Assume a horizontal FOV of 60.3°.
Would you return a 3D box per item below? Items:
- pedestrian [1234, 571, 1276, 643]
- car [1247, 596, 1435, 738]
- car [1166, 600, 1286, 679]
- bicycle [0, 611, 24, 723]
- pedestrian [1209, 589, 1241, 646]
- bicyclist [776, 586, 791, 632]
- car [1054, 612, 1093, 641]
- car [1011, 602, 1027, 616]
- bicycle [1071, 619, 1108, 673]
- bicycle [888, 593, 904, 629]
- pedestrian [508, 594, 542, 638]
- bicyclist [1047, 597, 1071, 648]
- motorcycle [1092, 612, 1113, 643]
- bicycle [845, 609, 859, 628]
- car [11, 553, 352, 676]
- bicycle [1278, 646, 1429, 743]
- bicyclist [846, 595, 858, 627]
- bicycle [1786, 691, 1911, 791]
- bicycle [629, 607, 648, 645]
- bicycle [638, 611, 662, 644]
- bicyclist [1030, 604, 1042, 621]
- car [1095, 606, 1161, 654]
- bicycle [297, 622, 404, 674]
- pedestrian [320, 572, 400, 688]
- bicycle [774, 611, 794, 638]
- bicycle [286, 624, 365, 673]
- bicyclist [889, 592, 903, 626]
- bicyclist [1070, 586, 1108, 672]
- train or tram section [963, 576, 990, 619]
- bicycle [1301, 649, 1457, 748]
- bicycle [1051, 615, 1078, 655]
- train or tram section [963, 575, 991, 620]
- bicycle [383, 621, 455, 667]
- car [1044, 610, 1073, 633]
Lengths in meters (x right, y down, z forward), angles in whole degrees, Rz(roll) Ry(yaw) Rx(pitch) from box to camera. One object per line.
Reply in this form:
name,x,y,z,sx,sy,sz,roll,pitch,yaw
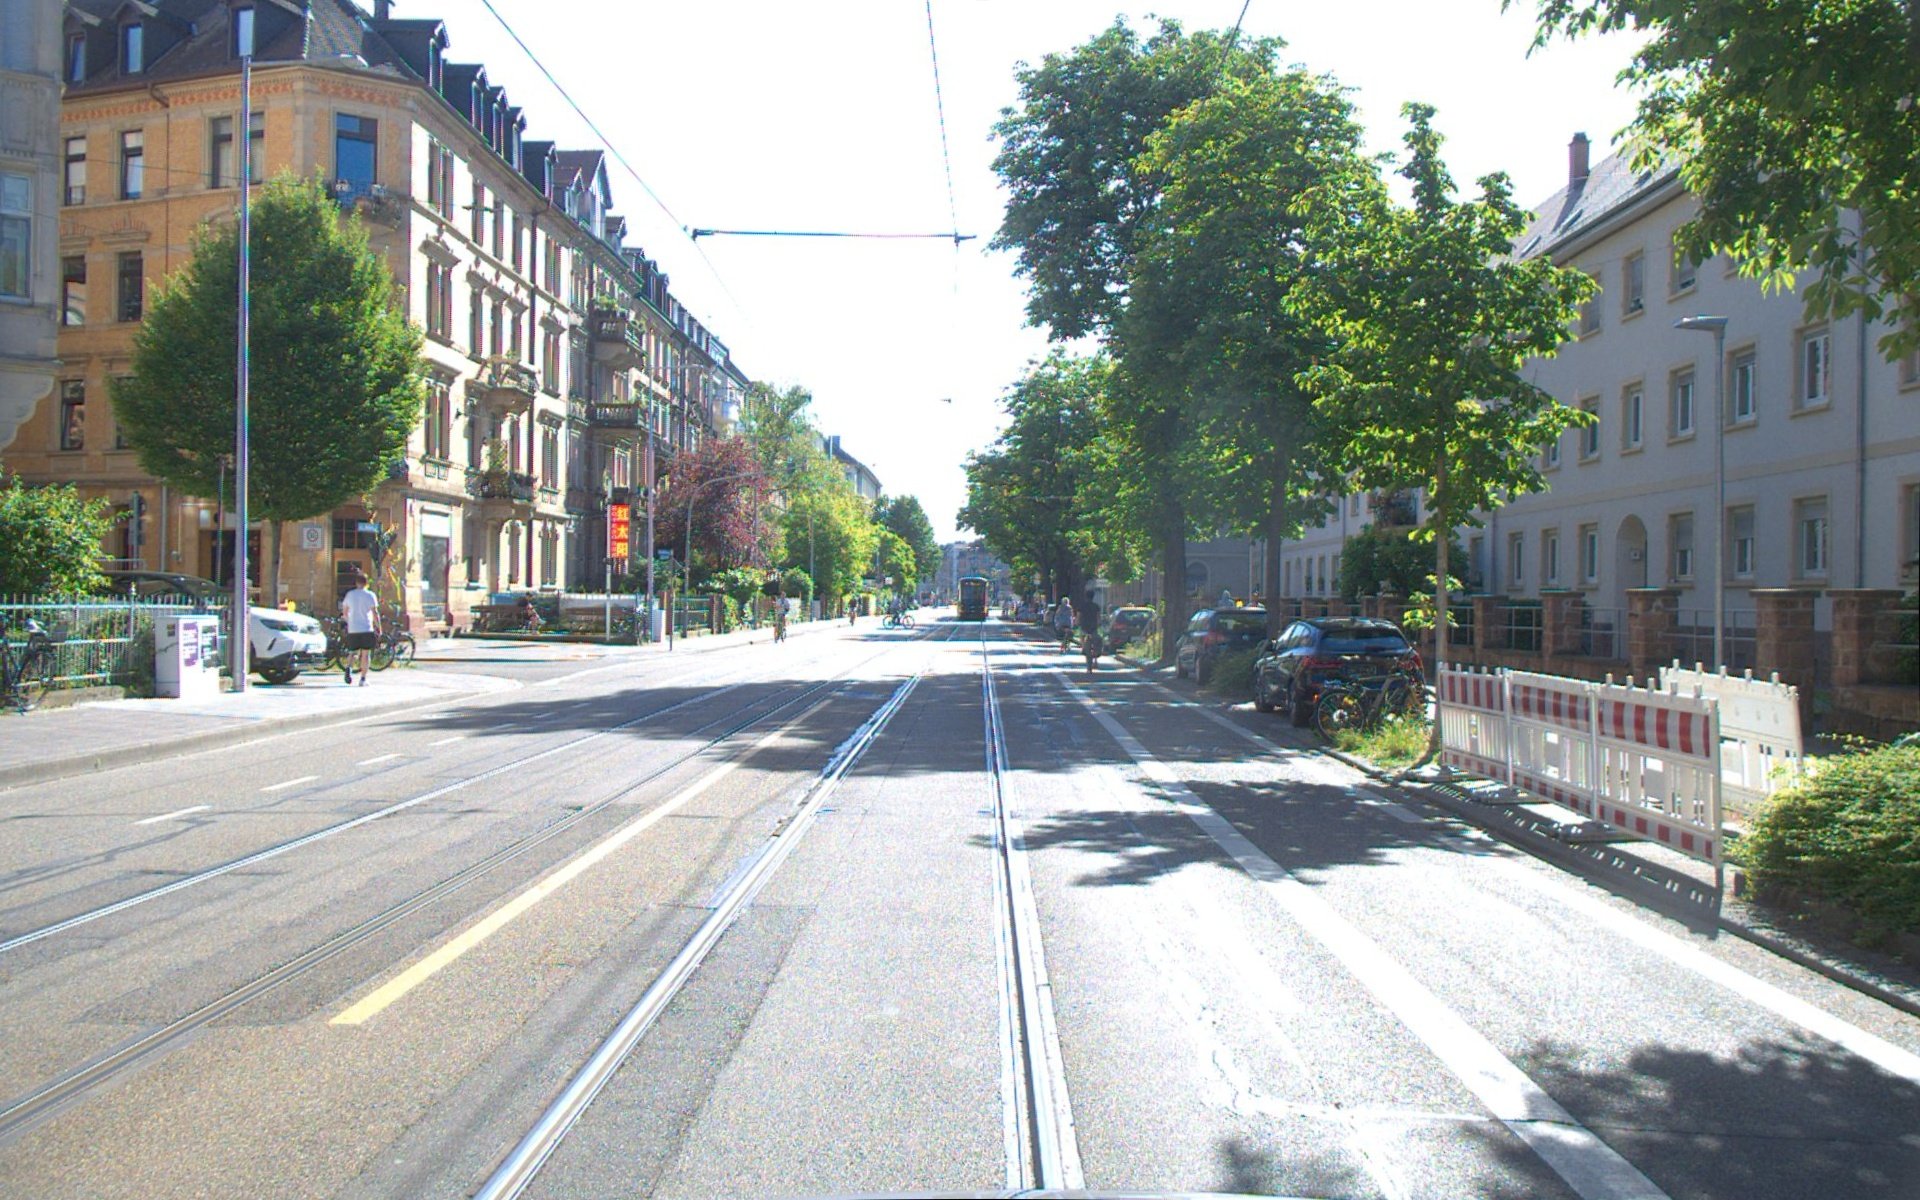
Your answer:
pedestrian,7.481,0.174,41.962,0.592,1.802,0.904,-2,0,-30
car,5.281,0.863,23.439,1.631,1.792,4.231,1,0,0
car,5.297,0.746,33.391,1.685,1.499,4.245,0,0,-1
bicycle,-10.270,0.683,17.375,0.558,1.051,1.746,2,1,-35
pedestrian,8.290,0.557,51.752,0.749,1.754,0.578,2,0,30
bicyclist,-6.479,0.335,60.752,0.454,1.647,0.744,-1,0,1
car,6.102,1.427,89.232,1.595,1.461,4.662,0,0,-3
car,6.808,1.024,190.928,1.718,1.579,3.677,2,0,0
bicycle,2.901,1.017,37.075,0.677,1.132,1.718,2,0,1
bicycle,-3.479,0.608,89.961,0.649,1.891,2.260,2,0,2
pedestrian,-13.648,0.494,51.934,0.882,1.376,0.577,-1,-1,2
bicyclist,2.956,0.677,49.556,0.622,1.493,0.616,2,0,1
motorcycle,5.936,1.129,68.945,0.486,1.211,1.859,-3,1,-7
bicycle,-6.317,1.083,96.901,0.677,1.132,1.718,0,0,1
car,-12.135,0.221,25.976,4.353,1.672,1.967,2,-1,3
bicycle,4.838,1.161,20.378,1.725,1.096,0.433,2,0,1
bicyclist,-6.318,0.640,96.841,0.646,1.833,0.616,-1,-1,1
bicycle,10.893,1.707,20.342,0.548,1.071,1.871,1,0,1
bicycle,-9.970,0.805,51.323,0.363,1.146,0.809,2,0,1
bicycle,-9.776,0.863,52.189,0.328,1.018,1.870,2,0,1
bicyclist,6.019,0.993,130.957,0.756,1.314,0.733,2,0,17
car,5.429,0.953,53.886,1.750,1.489,4.044,1,0,0
bicycle,-11.393,0.893,30.960,1.768,0.930,0.613,3,-2,-36
pedestrian,-9.441,0.470,26.068,0.812,1.754,1.082,2,-1,-2
bicycle,-6.471,0.886,60.837,0.451,0.942,2.203,0,0,1
bicycle,-12.424,0.963,32.393,0.609,0.930,1.288,0,-2,38
bicyclist,-3.497,0.501,90.026,0.632,1.827,0.956,2,0,0
bicyclist,2.895,0.642,37.094,0.712,1.880,0.836,2,0,0
train or tram section,1.403,-0.202,140.699,2.109,3.491,6.611,2,0,0
bicycle,5.027,1.177,19.890,1.725,1.096,0.433,2,0,1
bicycle,3.132,1.040,49.658,0.677,1.132,1.917,2,0,1
train or tram section,1.350,-0.210,134.064,2.109,3.491,6.611,2,0,0
bicycle,-11.245,0.922,34.408,1.280,0.930,0.613,3,-2,-36
car,6.416,1.418,108.053,1.713,1.445,4.000,0,0,0
